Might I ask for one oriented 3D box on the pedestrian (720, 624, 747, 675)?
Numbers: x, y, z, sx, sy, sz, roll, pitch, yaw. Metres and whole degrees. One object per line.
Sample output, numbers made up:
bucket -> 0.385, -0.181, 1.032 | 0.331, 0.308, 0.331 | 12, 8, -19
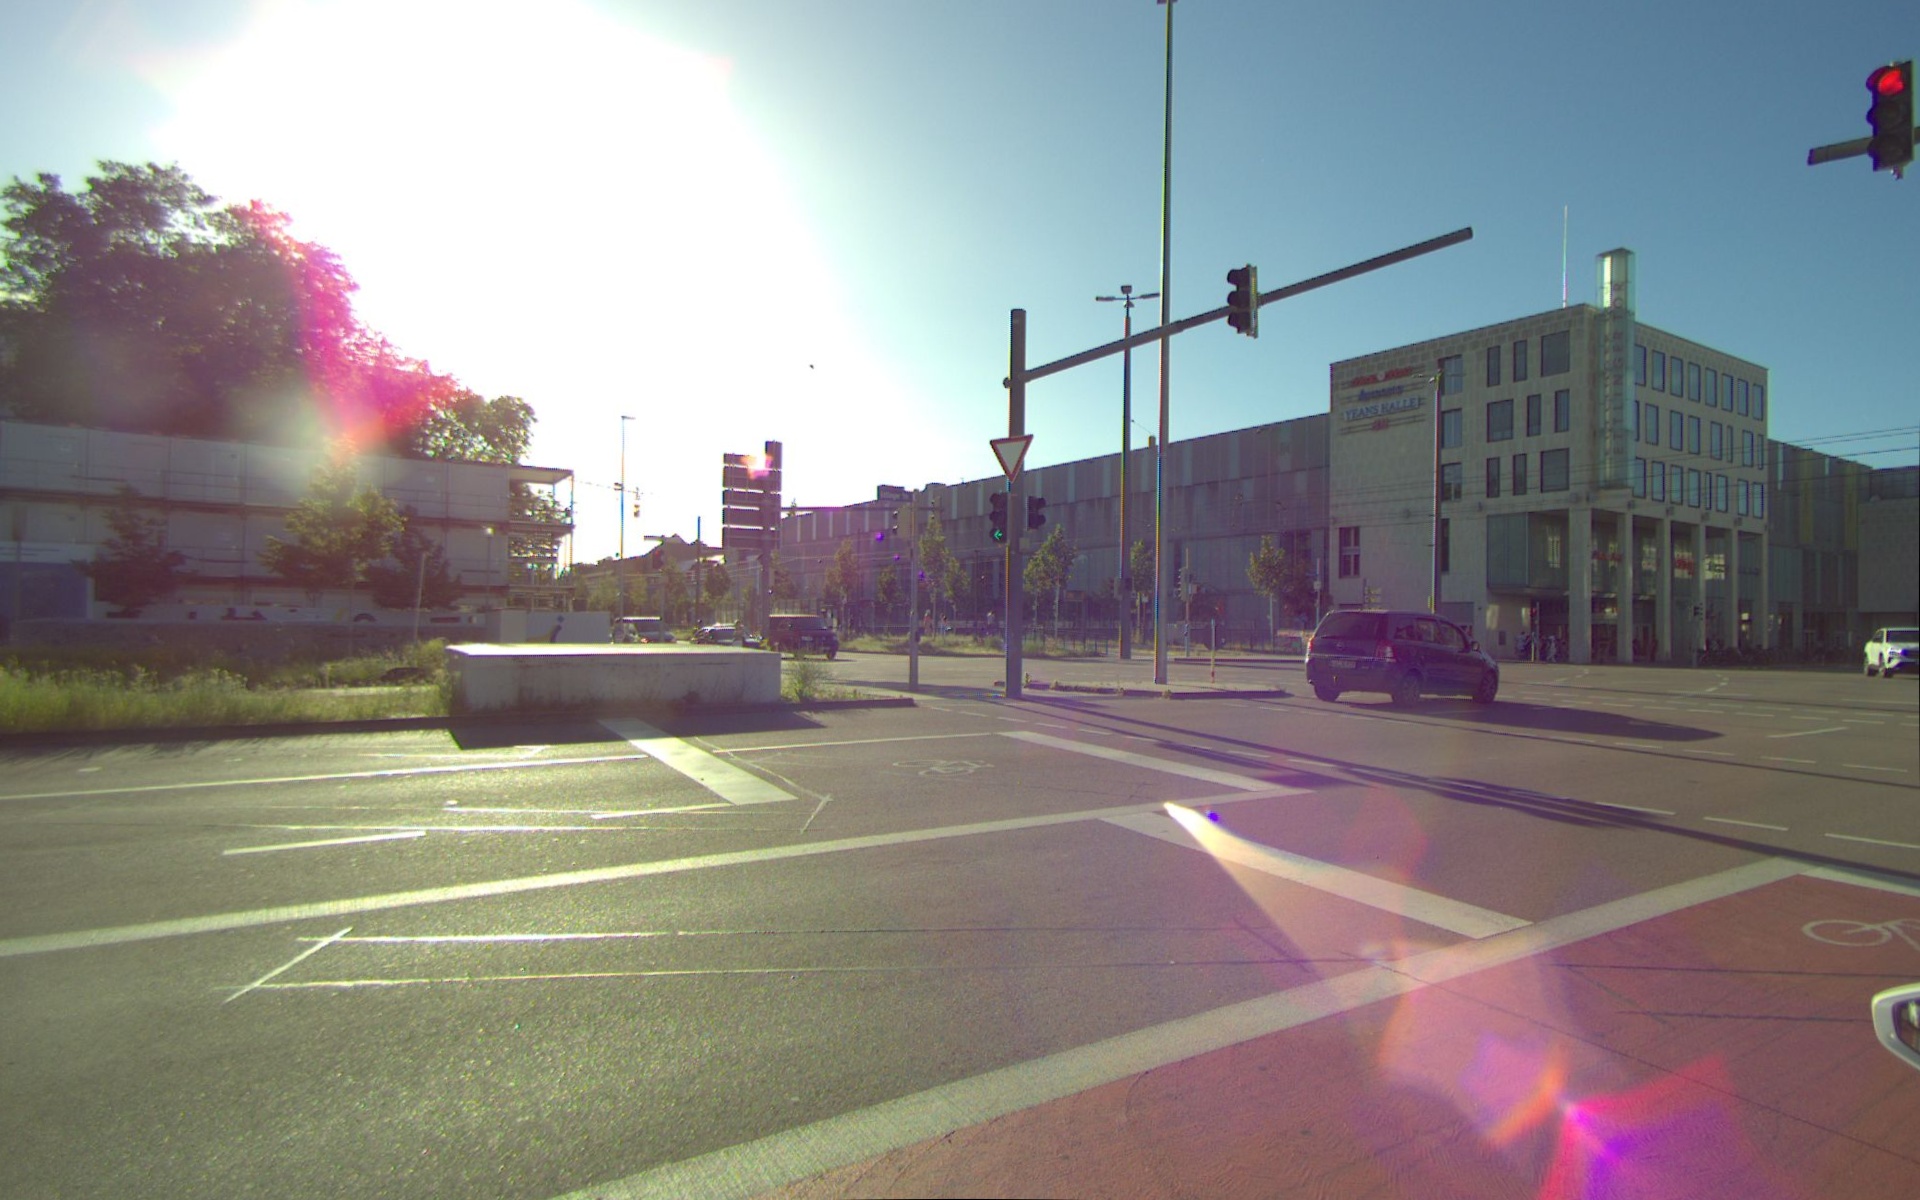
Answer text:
pedestrian -> -7.571, 1.640, 33.567 | 0.619, 1.674, 0.935 | 1, -1, -30

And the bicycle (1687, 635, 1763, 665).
bicycle -> 45.706, 2.979, 60.034 | 1.107, 1.719, 3.465 | 1, -2, -38

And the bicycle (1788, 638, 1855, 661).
bicycle -> 60.389, 3.436, 70.472 | 0.979, 1.547, 3.462 | 2, -2, -40

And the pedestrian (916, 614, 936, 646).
pedestrian -> -2.030, 1.781, 59.786 | 0.889, 1.855, 0.787 | 1, -1, -35

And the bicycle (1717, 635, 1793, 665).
bicycle -> 48.222, 3.015, 60.940 | 1.107, 1.719, 3.465 | 1, -2, -38

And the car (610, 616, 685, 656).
car -> -15.178, 1.721, 48.630 | 1.981, 1.849, 4.821 | 1, -2, -36

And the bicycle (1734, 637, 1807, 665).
bicycle -> 51.127, 3.192, 63.425 | 0.979, 1.719, 3.462 | 1, -2, -40

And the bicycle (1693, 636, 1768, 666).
bicycle -> 46.634, 3.052, 60.838 | 1.107, 1.719, 3.465 | 1, -2, -38

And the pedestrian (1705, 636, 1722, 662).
pedestrian -> 50.266, 3.260, 67.047 | 0.689, 1.664, 0.778 | 1, -1, -40

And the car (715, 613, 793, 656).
car -> -10.383, 1.703, 50.420 | 1.981, 2.040, 4.821 | 1, -2, -36

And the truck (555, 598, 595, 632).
truck -> -33.471, 1.342, 87.252 | 1.979, 2.875, 6.293 | 1, -2, -33

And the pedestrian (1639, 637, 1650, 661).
pedestrian -> 44.972, 3.229, 66.011 | 0.508, 1.530, 0.479 | 1, -1, -34

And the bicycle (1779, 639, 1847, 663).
bicycle -> 58.881, 3.481, 69.391 | 0.979, 1.547, 3.462 | 2, -2, -40

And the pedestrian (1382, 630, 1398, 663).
pedestrian -> 22.449, 2.428, 52.453 | 0.541, 1.716, 0.523 | 1, -1, -30

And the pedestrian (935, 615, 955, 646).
pedestrian -> -0.912, 1.816, 59.525 | 0.889, 1.855, 0.787 | 1, -1, -35

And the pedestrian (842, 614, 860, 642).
pedestrian -> -7.127, 1.835, 65.782 | 0.889, 1.855, 0.787 | 1, -1, -35

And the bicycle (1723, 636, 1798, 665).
bicycle -> 49.151, 3.082, 61.740 | 1.107, 1.719, 3.465 | 1, -2, -38

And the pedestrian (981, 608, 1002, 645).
pedestrian -> 1.591, 1.349, 50.595 | 0.788, 1.855, 0.706 | 1, -1, -37

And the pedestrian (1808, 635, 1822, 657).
pedestrian -> 64.837, 3.457, 76.158 | 0.689, 1.664, 0.648 | 1, -1, -38

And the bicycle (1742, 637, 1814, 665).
bicycle -> 52.866, 3.261, 64.964 | 0.979, 1.719, 3.462 | 1, -2, -40

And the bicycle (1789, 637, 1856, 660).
bicycle -> 61.196, 3.453, 71.304 | 0.979, 1.547, 3.462 | 2, -2, -40

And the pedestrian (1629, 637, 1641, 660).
pedestrian -> 44.307, 3.191, 65.933 | 0.508, 1.530, 0.508 | 1, -1, -34

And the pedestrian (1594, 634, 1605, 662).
pedestrian -> 37.818, 2.826, 59.408 | 0.533, 1.664, 0.548 | 0, -1, 37

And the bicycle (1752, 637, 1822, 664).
bicycle -> 54.512, 3.323, 66.254 | 0.979, 1.719, 3.462 | 1, -2, -40

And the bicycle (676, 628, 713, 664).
bicycle -> -15.539, 2.649, 58.675 | 1.007, 2.040, 3.472 | 1, -2, -33

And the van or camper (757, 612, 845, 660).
van or camper -> -7.294, 1.601, 45.651 | 1.981, 2.040, 4.821 | 1, -2, -36

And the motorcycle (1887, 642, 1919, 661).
motorcycle -> 70.856, 3.857, 75.007 | 0.713, 1.335, 2.260 | 1, -2, -34

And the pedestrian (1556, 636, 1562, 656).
pedestrian -> 42.215, 3.245, 70.773 | 0.381, 1.445, 0.501 | 0, -1, 32

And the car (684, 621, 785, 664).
car -> -9.391, 1.711, 41.514 | 2.313, 1.671, 4.821 | 1, -2, -37

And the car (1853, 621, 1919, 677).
car -> 30.278, 1.530, 32.127 | 1.967, 1.682, 4.393 | -1, -1, 34

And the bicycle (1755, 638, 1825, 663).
bicycle -> 55.263, 3.331, 66.922 | 0.979, 1.547, 3.462 | 2, -2, -40

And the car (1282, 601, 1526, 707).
car -> 8.047, 0.904, 18.083 | 4.436, 1.629, 1.980 | 1, 1, -35

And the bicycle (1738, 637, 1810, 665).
bicycle -> 51.953, 3.229, 64.160 | 0.979, 1.719, 3.462 | 1, -2, -40

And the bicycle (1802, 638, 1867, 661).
bicycle -> 63.713, 3.592, 73.204 | 0.979, 1.547, 3.462 | 2, -2, -40

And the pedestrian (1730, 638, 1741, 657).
pedestrian -> 58.624, 3.603, 75.922 | 0.630, 1.454, 0.474 | 0, -1, 38

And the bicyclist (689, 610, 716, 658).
bicyclist -> -14.811, 1.944, 57.648 | 1.007, 2.677, 1.610 | 1, -1, -34
